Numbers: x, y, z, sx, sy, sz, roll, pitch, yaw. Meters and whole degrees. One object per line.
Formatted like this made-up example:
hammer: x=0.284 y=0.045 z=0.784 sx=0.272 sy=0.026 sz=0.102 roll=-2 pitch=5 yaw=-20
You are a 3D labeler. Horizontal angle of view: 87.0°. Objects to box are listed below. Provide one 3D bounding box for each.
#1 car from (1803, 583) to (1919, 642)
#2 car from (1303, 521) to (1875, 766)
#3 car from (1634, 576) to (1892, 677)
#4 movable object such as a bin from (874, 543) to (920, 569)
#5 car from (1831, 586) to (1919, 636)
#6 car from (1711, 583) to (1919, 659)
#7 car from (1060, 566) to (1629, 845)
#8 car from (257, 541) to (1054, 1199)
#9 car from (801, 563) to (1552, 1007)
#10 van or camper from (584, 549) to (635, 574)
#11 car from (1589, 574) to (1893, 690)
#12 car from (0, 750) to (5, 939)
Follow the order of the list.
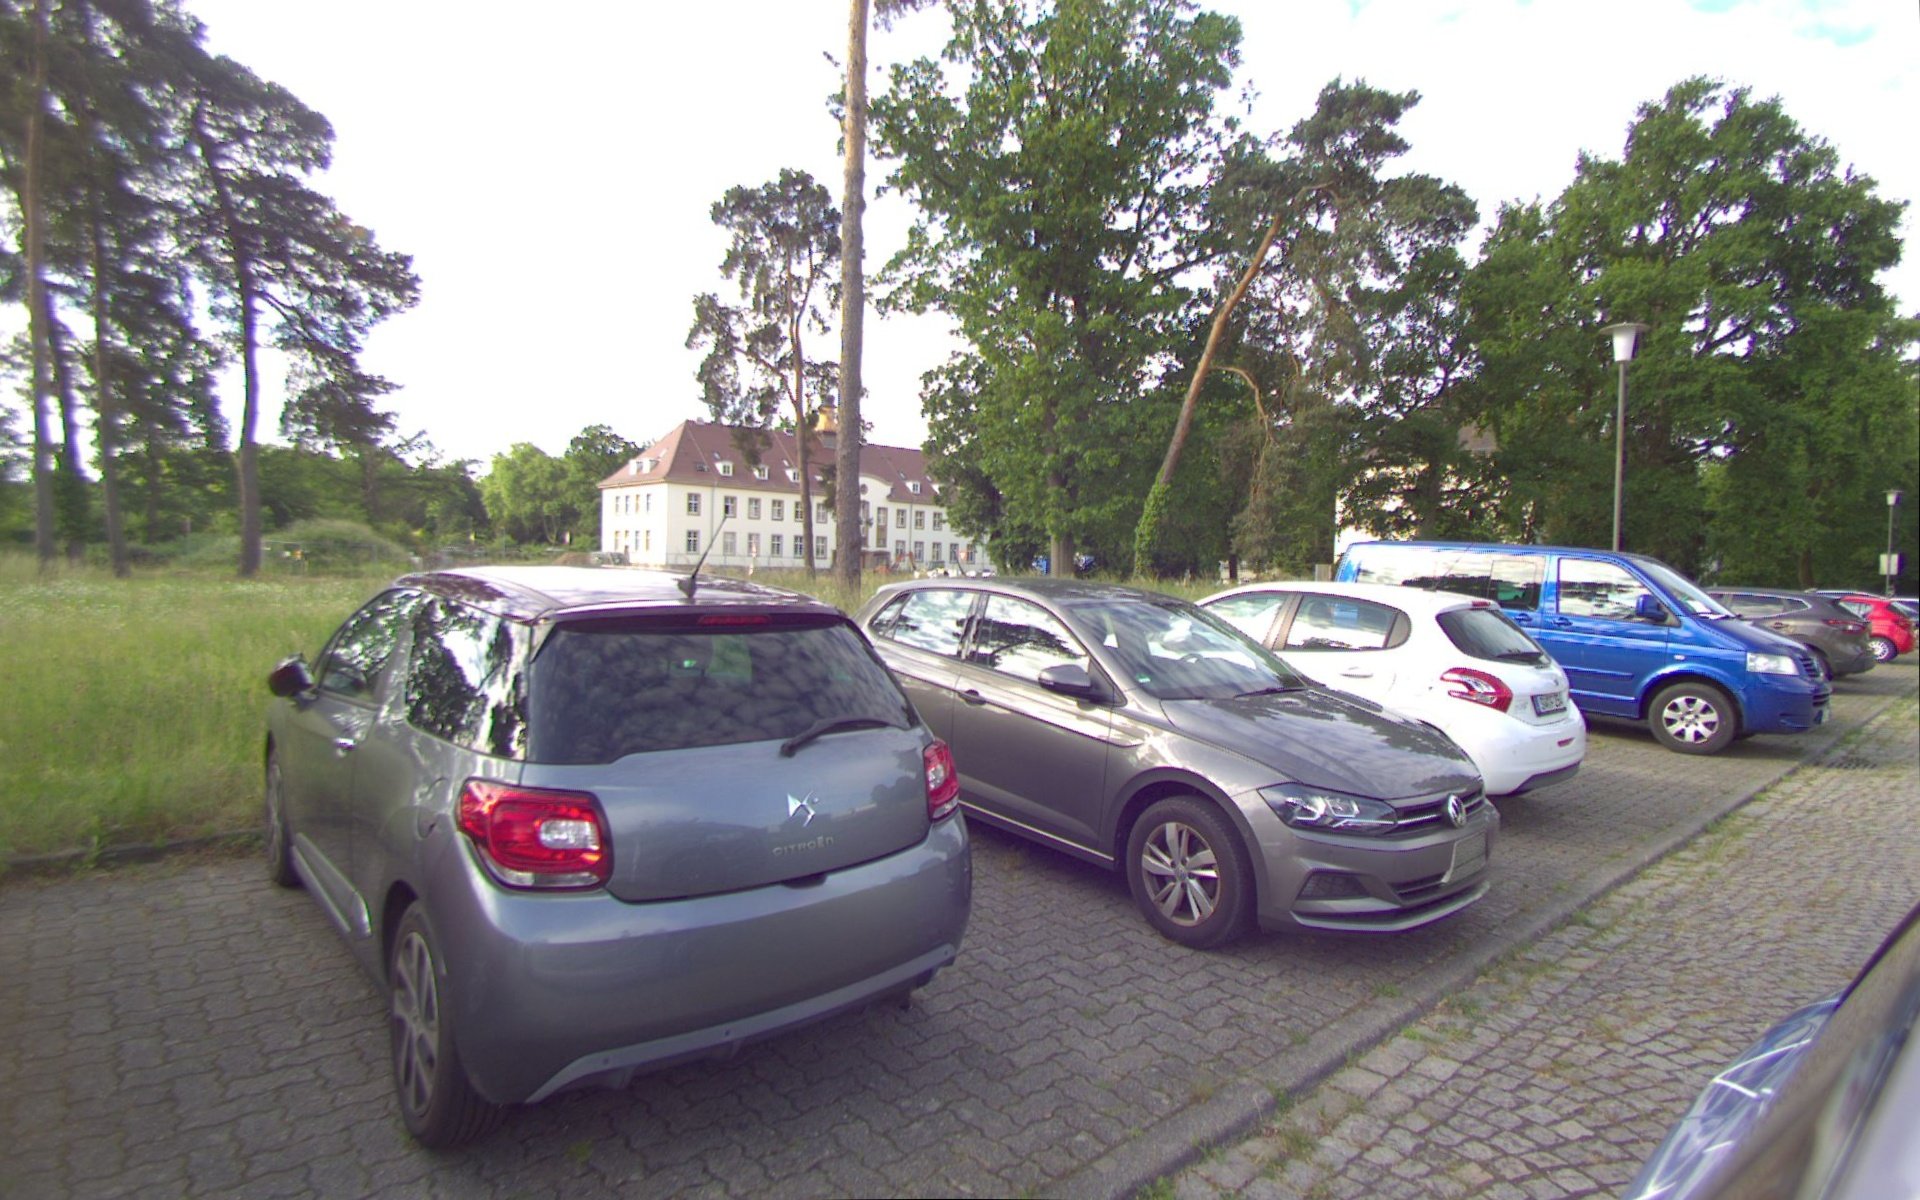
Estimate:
car: x=28.192 y=0.363 z=30.618 sx=1.552 sy=1.638 sz=3.840 roll=0 pitch=2 yaw=-37
car: x=6.659 y=0.229 z=11.296 sx=2.024 sy=2.046 sz=4.954 roll=0 pitch=4 yaw=-40
car: x=14.996 y=0.414 z=19.021 sx=1.555 sy=1.621 sz=3.626 roll=0 pitch=2 yaw=-45
movable object such as a bin: x=-7.080 y=-4.938 z=113.777 sx=1.994 sy=2.802 sz=5.123 roll=3 pitch=2 yaw=43
car: x=31.698 y=0.382 z=33.642 sx=1.642 sy=1.548 sz=3.840 roll=0 pitch=2 yaw=-37
car: x=20.335 y=0.428 z=24.011 sx=1.555 sy=1.543 sz=3.831 roll=0 pitch=3 yaw=-45
car: x=2.661 y=0.552 z=7.718 sx=1.553 sy=1.517 sz=3.762 roll=0 pitch=2 yaw=-39
car: x=-1.578 y=0.556 z=4.028 sx=1.577 sy=1.522 sz=3.835 roll=0 pitch=3 yaw=-41
car: x=0.817 y=0.589 z=5.486 sx=1.613 sy=1.483 sz=3.781 roll=0 pitch=2 yaw=-39
van or camper: x=-33.502 y=-3.651 z=96.623 sx=6.061 sy=2.250 sz=1.970 roll=3 pitch=3 yaw=42
car: x=12.976 y=0.440 z=16.976 sx=1.555 sy=1.621 sz=3.831 roll=0 pitch=2 yaw=-45
car: x=-3.158 y=0.700 z=1.981 sx=1.579 sy=1.302 sz=3.555 roll=-2 pitch=3 yaw=-39
